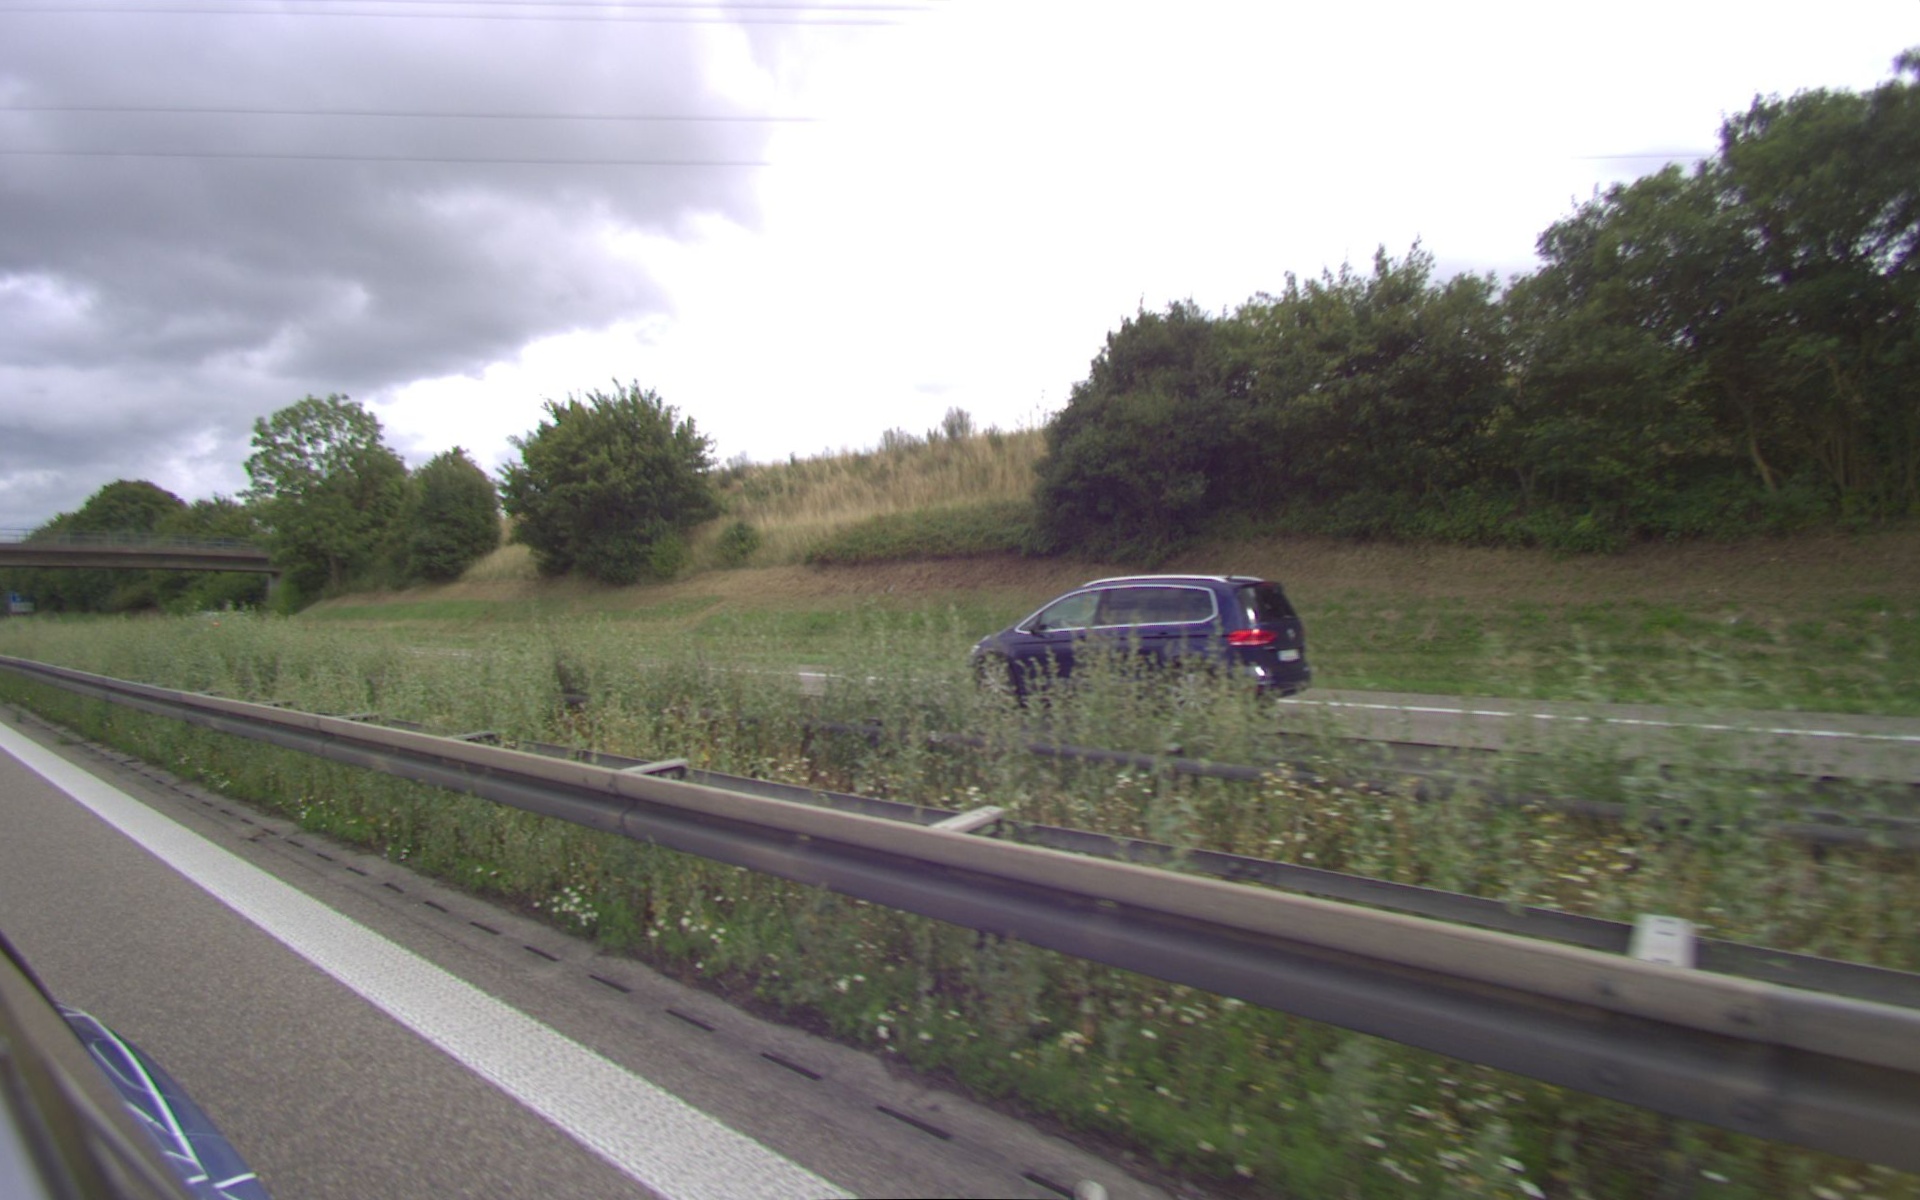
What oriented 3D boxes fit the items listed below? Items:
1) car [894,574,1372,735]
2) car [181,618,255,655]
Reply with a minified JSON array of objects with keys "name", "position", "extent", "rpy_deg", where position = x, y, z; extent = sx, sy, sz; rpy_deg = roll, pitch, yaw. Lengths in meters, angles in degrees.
[{"name":"car","position":[1.894,0.554,12.514],"extent":[5.616,1.587,1.909],"rpy_deg":[-1,0,39]},{"name":"car","position":[-32.084,1.528,43.712],"extent":[3.997,1.464,1.728],"rpy_deg":[-1,0,41]}]
